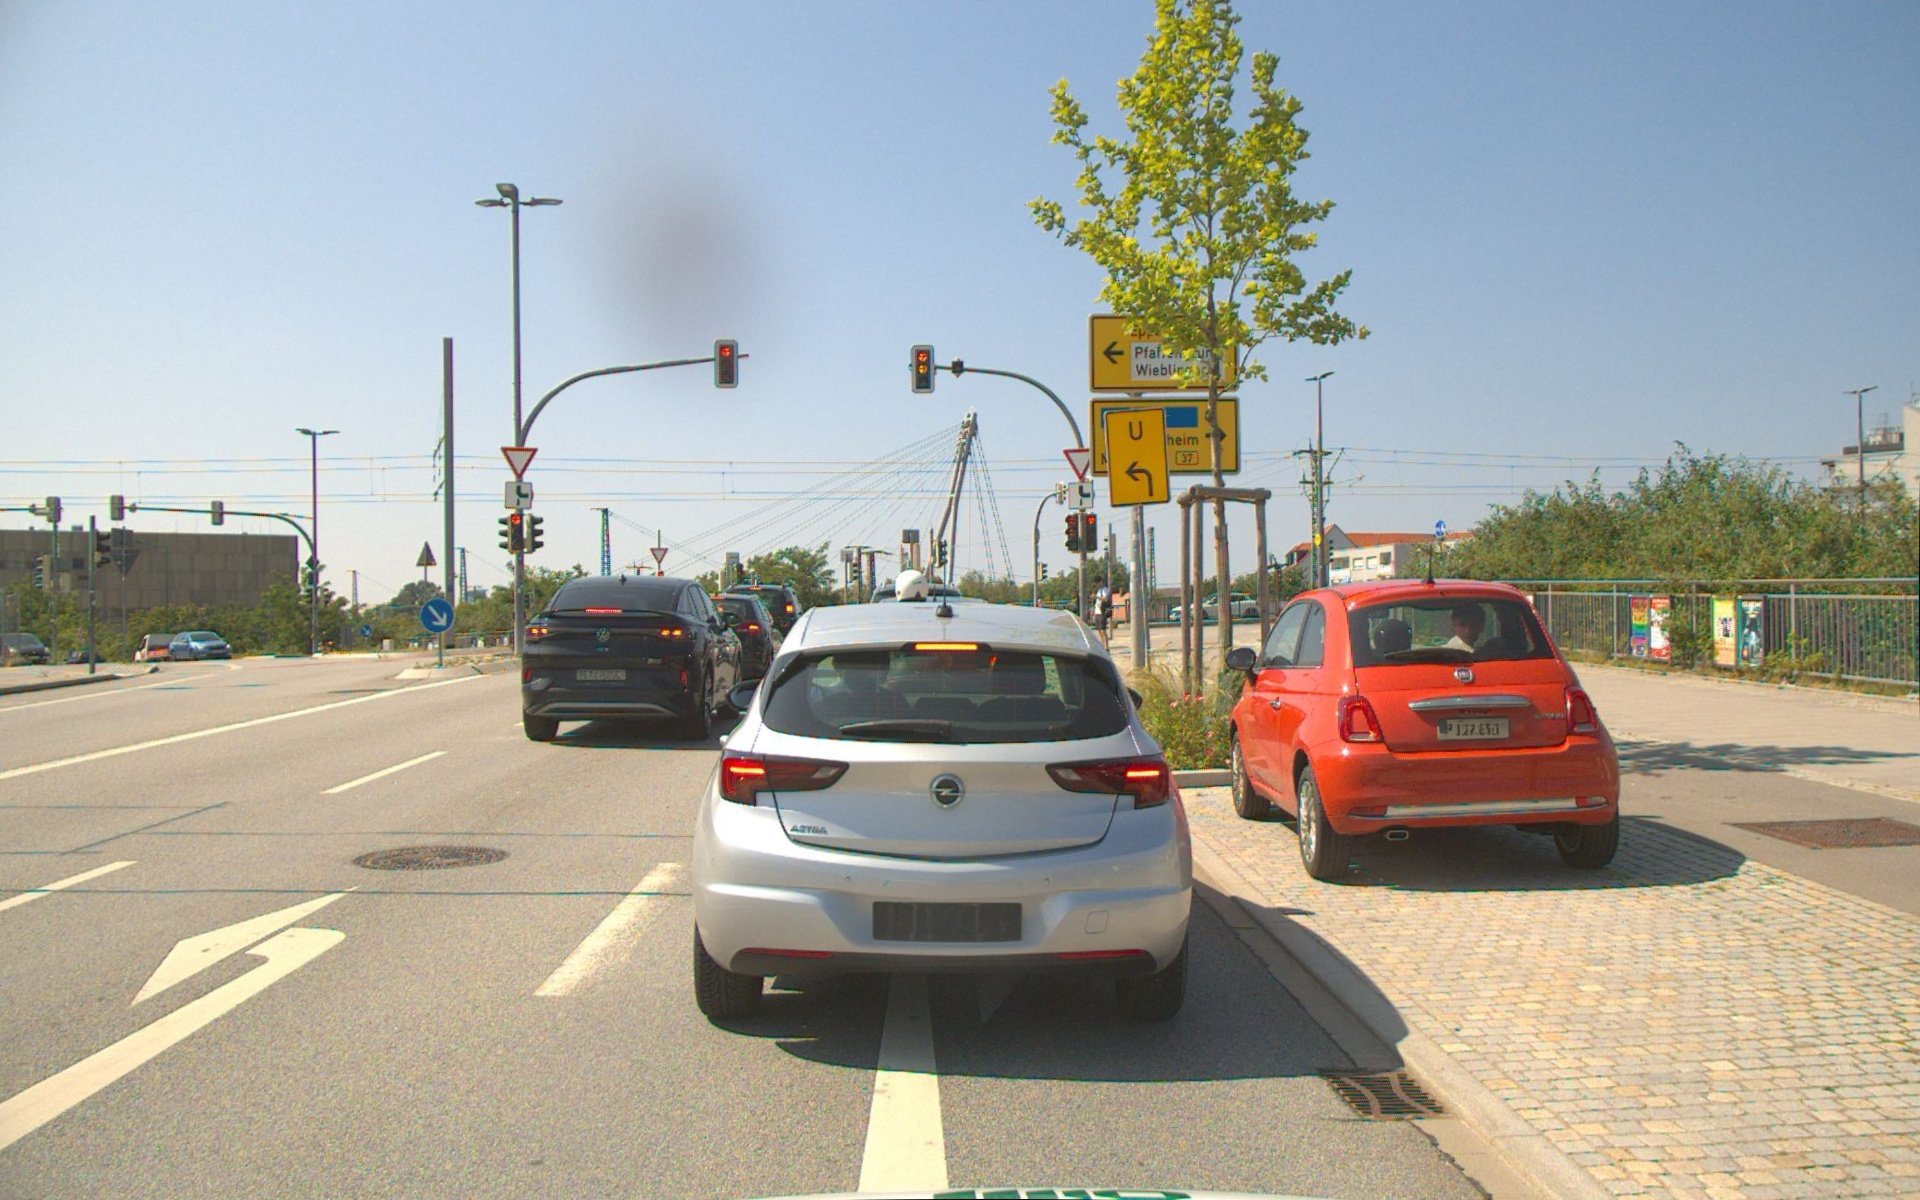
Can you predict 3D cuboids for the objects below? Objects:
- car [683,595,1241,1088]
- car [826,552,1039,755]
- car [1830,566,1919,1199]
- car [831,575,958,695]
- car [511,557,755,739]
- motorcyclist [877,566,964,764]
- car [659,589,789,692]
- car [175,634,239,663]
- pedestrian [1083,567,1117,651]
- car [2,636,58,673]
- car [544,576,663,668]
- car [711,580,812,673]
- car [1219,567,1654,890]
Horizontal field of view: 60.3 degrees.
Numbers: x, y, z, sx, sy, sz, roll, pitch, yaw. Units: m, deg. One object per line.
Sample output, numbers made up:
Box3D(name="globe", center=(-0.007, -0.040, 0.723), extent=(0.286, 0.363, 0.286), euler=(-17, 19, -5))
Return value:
Box3D(name="car", center=(-0.094, 0.759, 7.112), extent=(1.708, 1.503, 3.997), euler=(1, 0, -3))
Box3D(name="car", center=(-0.286, 0.470, 17.542), extent=(1.953, 1.852, 4.401), euler=(1, 1, -1))
Box3D(name="car", center=(2.928, 0.618, 1.908), extent=(1.627, 1.451, 3.999), euler=(-2, 0, -2))
Box3D(name="car", center=(-0.909, 0.450, 24.389), extent=(1.689, 1.591, 4.000), euler=(1, 1, -1))
Box3D(name="car", center=(-3.324, 0.459, 17.625), extent=(1.765, 1.670, 4.365), euler=(1, 0, -1))
Box3D(name="motorcyclist", center=(-0.286, 0.469, 12.283), extent=(0.569, 1.413, 0.707), euler=(1, -1, 3))
Box3D(name="car", center=(-3.575, 0.587, 25.562), extent=(1.543, 1.459, 3.785), euler=(1, 0, -2))
Box3D(name="car", center=(-36.253, 2.344, 79.604), extent=(1.806, 1.354, 3.941), euler=(1, -2, -40))
Box3D(name="pedestrian", center=(3.165, 0.200, 37.367), extent=(0.634, 1.868, 0.797), euler=(-1, 0, -3))
Box3D(name="car", center=(-41.152, 2.397, 73.160), extent=(1.662, 1.502, 3.358), euler=(-1, 1, -39))
Box3D(name="car", center=(-6.581, 0.393, 30.870), extent=(1.565, 1.574, 3.760), euler=(1, 0, -3))
Box3D(name="car", center=(-3.725, 0.488, 31.543), extent=(1.616, 1.643, 3.818), euler=(1, 0, -3))
Box3D(name="car", center=(2.600, 0.616, 9.783), extent=(1.577, 1.522, 3.352), euler=(-2, 0, 0))
